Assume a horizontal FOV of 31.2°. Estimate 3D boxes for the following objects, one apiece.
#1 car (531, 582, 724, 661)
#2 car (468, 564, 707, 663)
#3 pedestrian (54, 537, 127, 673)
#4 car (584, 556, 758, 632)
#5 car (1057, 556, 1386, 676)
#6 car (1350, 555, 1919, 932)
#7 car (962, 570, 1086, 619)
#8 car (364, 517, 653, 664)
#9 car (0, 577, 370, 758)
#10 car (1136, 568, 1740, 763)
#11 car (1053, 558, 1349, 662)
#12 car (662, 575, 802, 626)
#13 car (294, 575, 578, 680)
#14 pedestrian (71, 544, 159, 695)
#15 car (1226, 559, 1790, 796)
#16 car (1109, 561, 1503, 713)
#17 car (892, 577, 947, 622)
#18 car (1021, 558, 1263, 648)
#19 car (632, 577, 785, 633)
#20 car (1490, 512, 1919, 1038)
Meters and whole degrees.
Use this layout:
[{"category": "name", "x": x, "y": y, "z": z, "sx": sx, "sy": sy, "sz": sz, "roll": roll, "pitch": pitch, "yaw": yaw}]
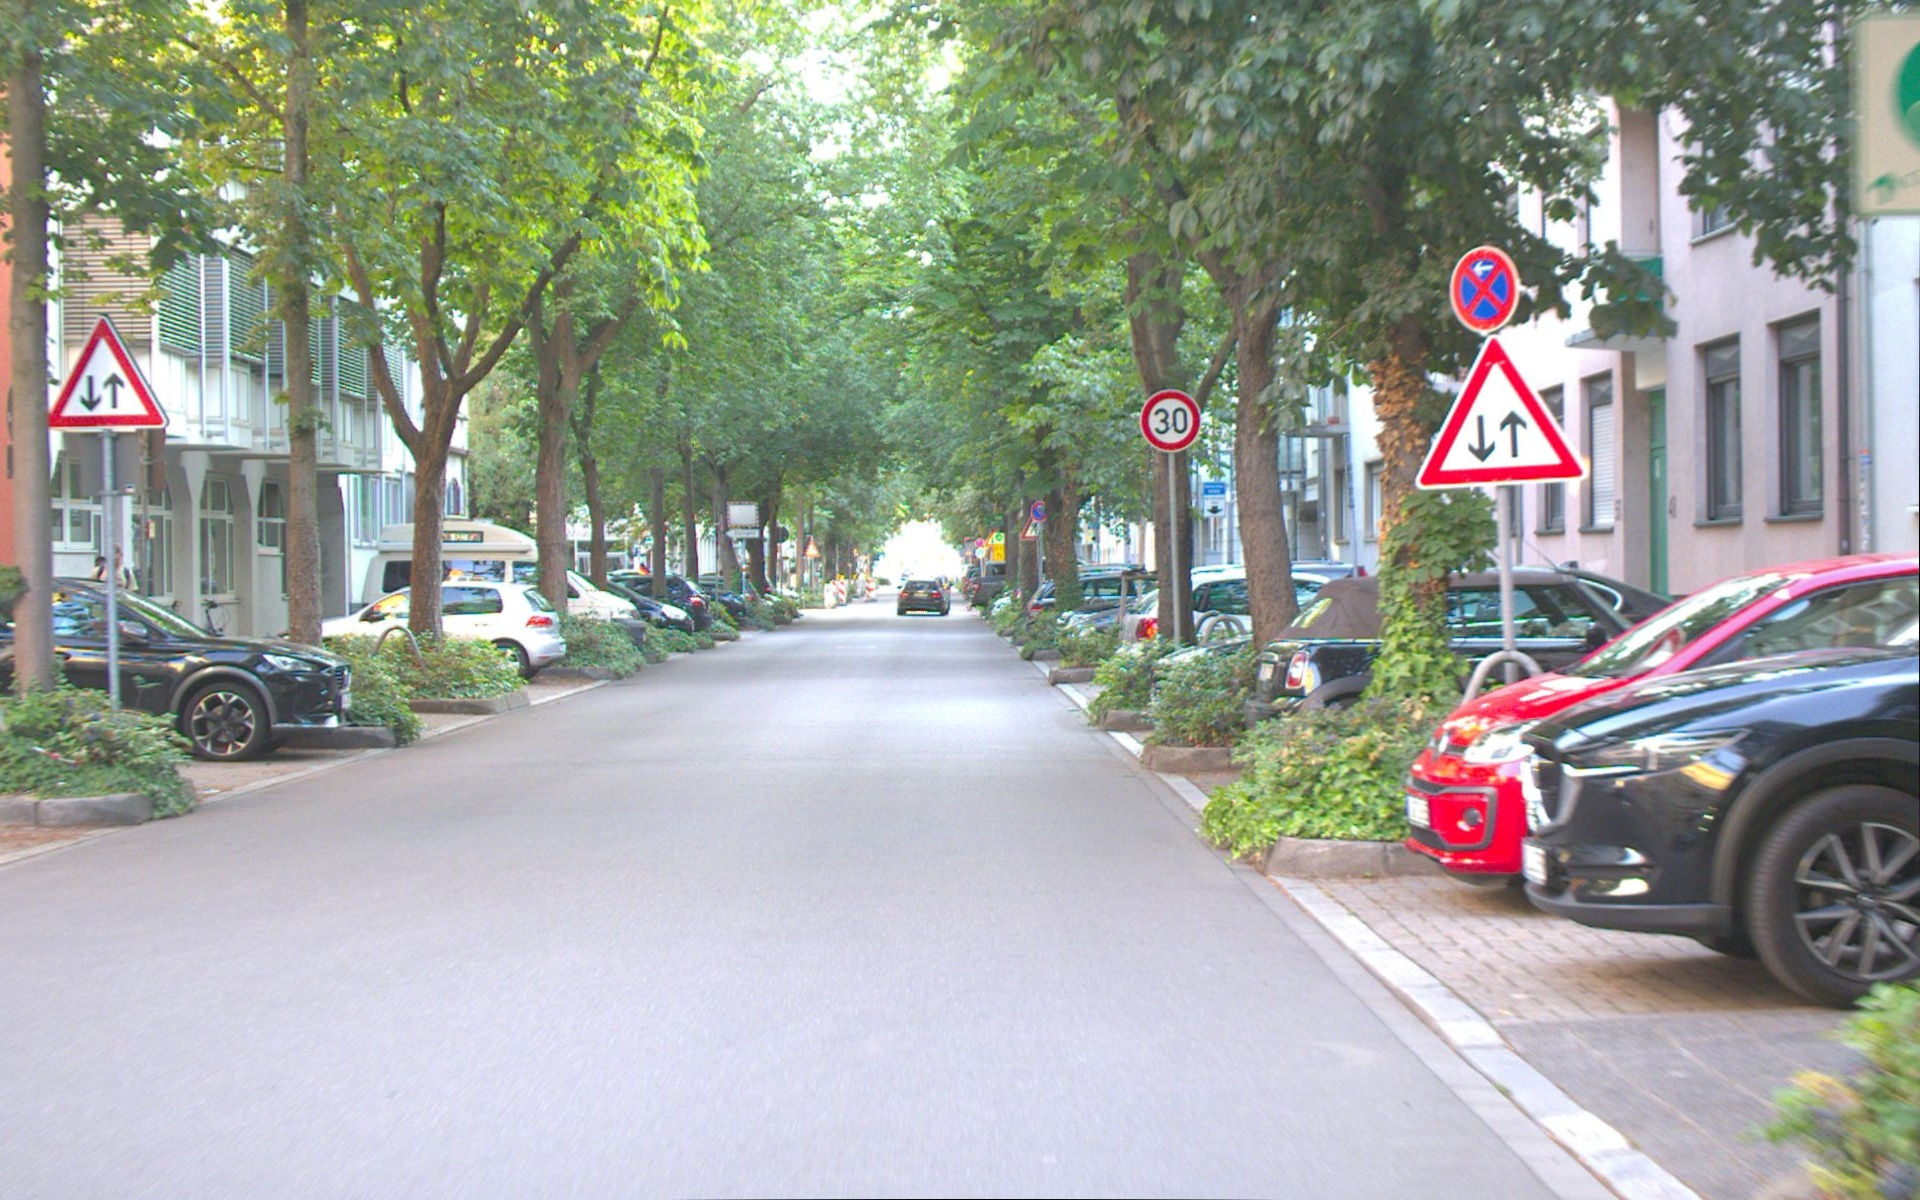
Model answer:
[{"category": "car", "x": -7.622, "y": 0.485, "z": 79.031, "sx": 4.203, "sy": 1.630, "sz": 1.963, "roll": -2, "pitch": 0, "yaw": 0}, {"category": "car", "x": -7.696, "y": 0.274, "z": 71.306, "sx": 4.682, "sy": 1.848, "sz": 1.963, "roll": -2, "pitch": 0, "yaw": 0}, {"category": "pedestrian", "x": -11.127, "y": 0.062, "z": 44.005, "sx": 0.703, "sy": 1.722, "sz": 0.905, "roll": 0, "pitch": 0, "yaw": 0}, {"category": "car", "x": -8.224, "y": -0.166, "z": 98.178, "sx": 4.762, "sy": 1.977, "sz": 1.963, "roll": -2, "pitch": 0, "yaw": 0}, {"category": "car", "x": 3.783, "y": 0.219, "z": 50.376, "sx": 4.718, "sy": 1.704, "sz": 1.950, "roll": 0, "pitch": 1, "yaw": 2}, {"category": "car", "x": 3.596, "y": 0.558, "z": 14.982, "sx": 3.483, "sy": 1.447, "sz": 1.900, "roll": -2, "pitch": 1, "yaw": -2}, {"category": "car", "x": 2.252, "y": -0.184, "z": 121.844, "sx": 4.268, "sy": 1.560, "sz": 1.963, "roll": -2, "pitch": 0, "yaw": 0}, {"category": "car", "x": -7.683, "y": -0.167, "z": 58.854, "sx": 4.682, "sy": 2.469, "sz": 2.000, "roll": 0, "pitch": 0, "yaw": 0}, {"category": "car", "x": -7.304, "y": 0.556, "z": 29.614, "sx": 4.127, "sy": 1.481, "sz": 1.929, "roll": 0, "pitch": 0, "yaw": -1}, {"category": "car", "x": 3.897, "y": 0.515, "z": 28.672, "sx": 4.711, "sy": 1.416, "sz": 2.036, "roll": -2, "pitch": 1, "yaw": 0}, {"category": "car", "x": 3.943, "y": 0.156, "z": 56.834, "sx": 4.682, "sy": 1.516, "sz": 1.963, "roll": -2, "pitch": 0, "yaw": 0}, {"category": "car", "x": -8.052, "y": 0.015, "z": 121.588, "sx": 4.762, "sy": 1.624, "sz": 1.963, "roll": -2, "pitch": 0, "yaw": 0}, {"category": "car", "x": -7.659, "y": 0.386, "z": 50.482, "sx": 3.871, "sy": 1.481, "sz": 1.757, "roll": 0, "pitch": 0, "yaw": 2}, {"category": "pedestrian", "x": -9.927, "y": 0.223, "z": 40.387, "sx": 0.704, "sy": 1.751, "sz": 0.739, "roll": 0, "pitch": 0, "yaw": 24}, {"category": "car", "x": 3.696, "y": 0.498, "z": 23.622, "sx": 3.483, "sy": 1.447, "sz": 1.900, "roll": -2, "pitch": 1, "yaw": -2}, {"category": "car", "x": 3.619, "y": 0.371, "z": 36.427, "sx": 3.876, "sy": 1.435, "sz": 1.848, "roll": -2, "pitch": 1, "yaw": -3}, {"category": "car", "x": -1.492, "y": -0.032, "z": 127.415, "sx": 1.956, "sy": 1.560, "sz": 4.282, "roll": -2, "pitch": 0, "yaw": 0}, {"category": "car", "x": 3.474, "y": 0.053, "z": 65.746, "sx": 4.508, "sy": 1.516, "sz": 1.995, "roll": -2, "pitch": 0, "yaw": 3}, {"category": "car", "x": -8.093, "y": 0.156, "z": 110.955, "sx": 4.762, "sy": 1.624, "sz": 1.963, "roll": -2, "pitch": 0, "yaw": 0}, {"category": "car", "x": 4.178, "y": 0.512, "z": 11.809, "sx": 4.426, "sy": 1.650, "sz": 1.899, "roll": -1, "pitch": 1, "yaw": 1}]
